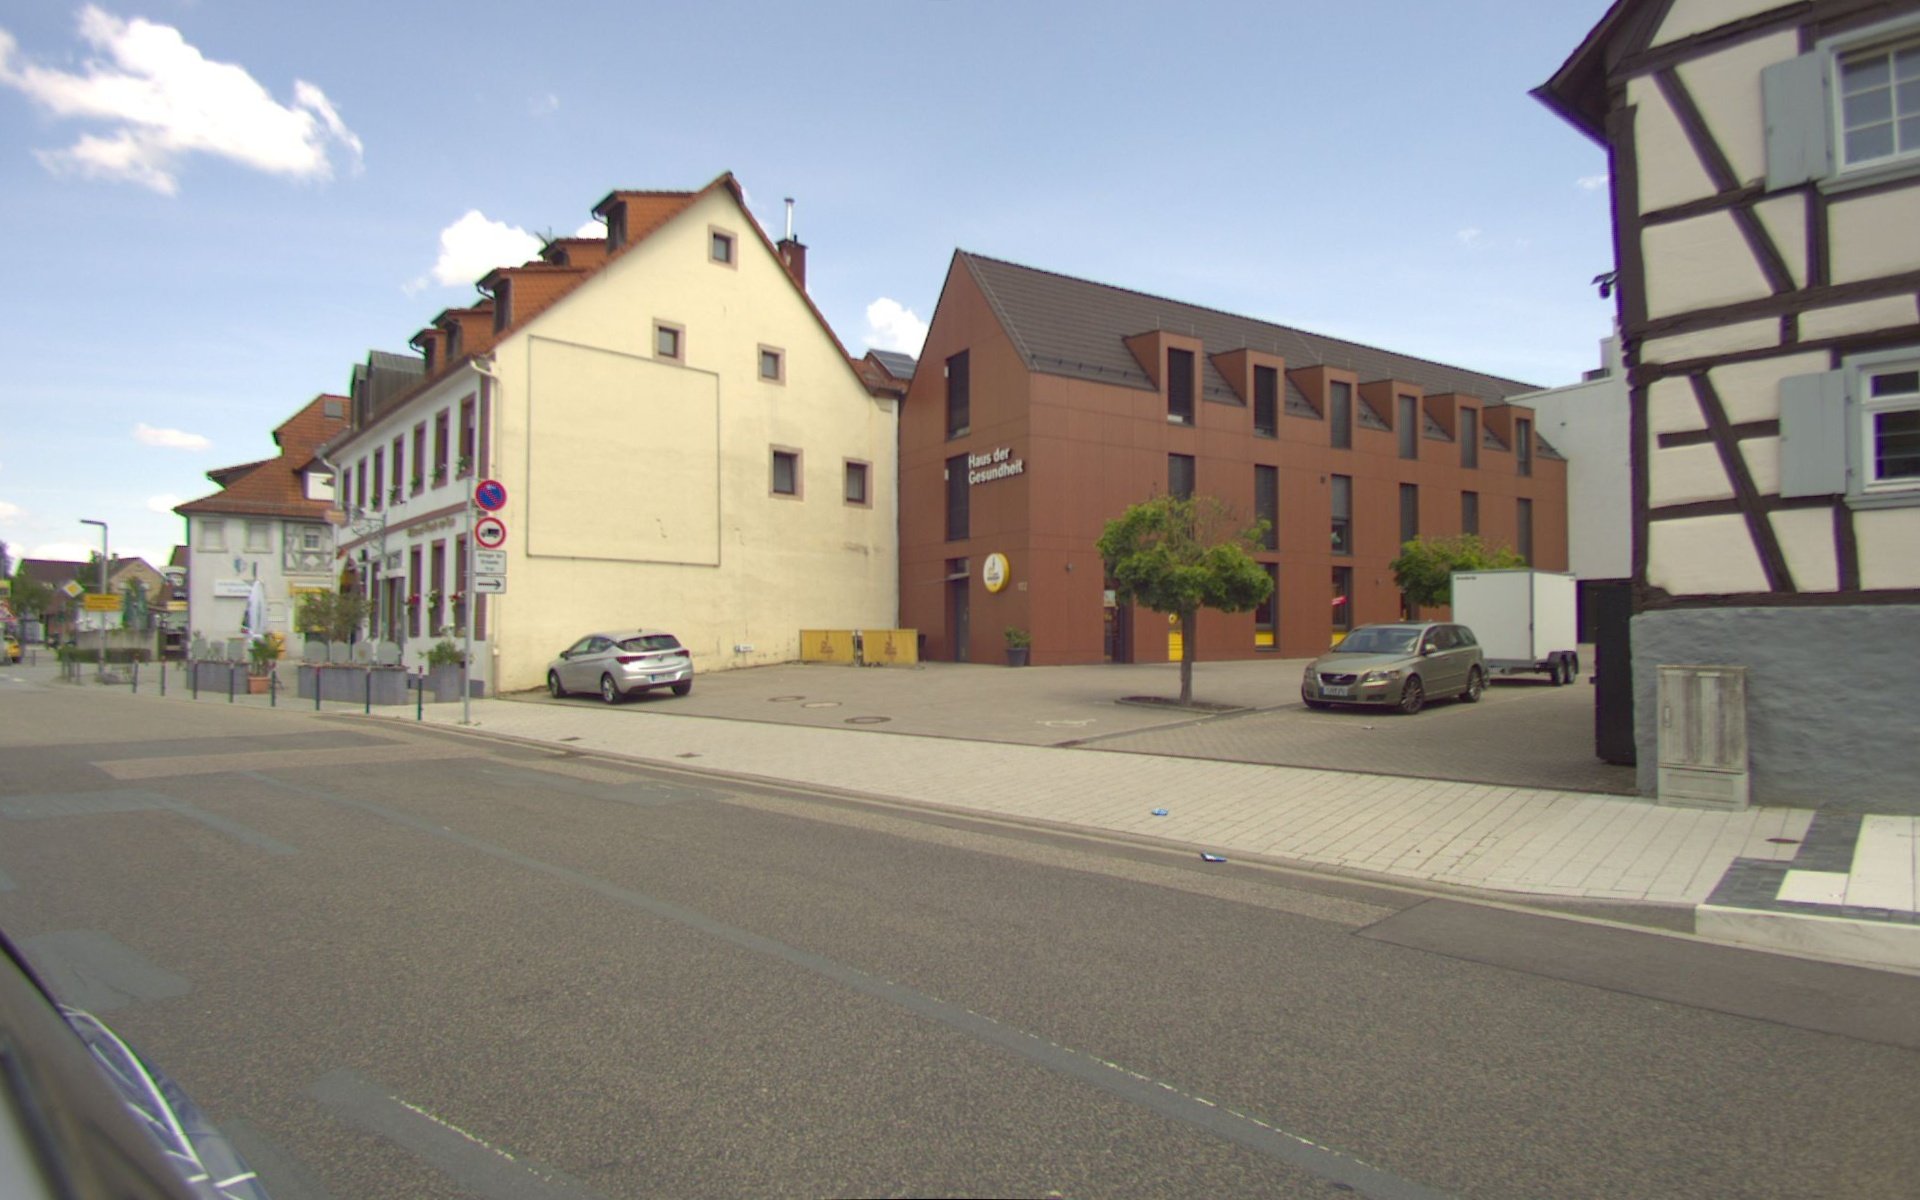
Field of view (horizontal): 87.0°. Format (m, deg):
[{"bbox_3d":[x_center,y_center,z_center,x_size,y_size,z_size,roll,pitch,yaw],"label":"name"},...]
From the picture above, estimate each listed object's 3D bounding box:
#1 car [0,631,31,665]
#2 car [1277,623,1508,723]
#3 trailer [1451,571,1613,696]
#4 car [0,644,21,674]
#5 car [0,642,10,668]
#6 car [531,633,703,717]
[{"bbox_3d":[-58.318,2.945,61.789,1.961,2.006,5.053,2,-3,-39],"label":"car"},{"bbox_3d":[7.525,1.154,17.407,4.372,1.399,1.967,-1,-1,-42],"label":"car"},{"bbox_3d":[12.544,0.665,22.076,1.965,2.444,4.376,-2,-1,45],"label":"trailer"},{"bbox_3d":[-48.956,2.969,51.374,3.964,1.486,1.649,-3,-4,45],"label":"car"},{"bbox_3d":[-53.731,3.041,55.837,1.794,1.434,4.542,2,-4,-42],"label":"car"},{"bbox_3d":[-7.491,1.530,21.876,1.738,1.503,4.278,-4,2,-45],"label":"car"}]
